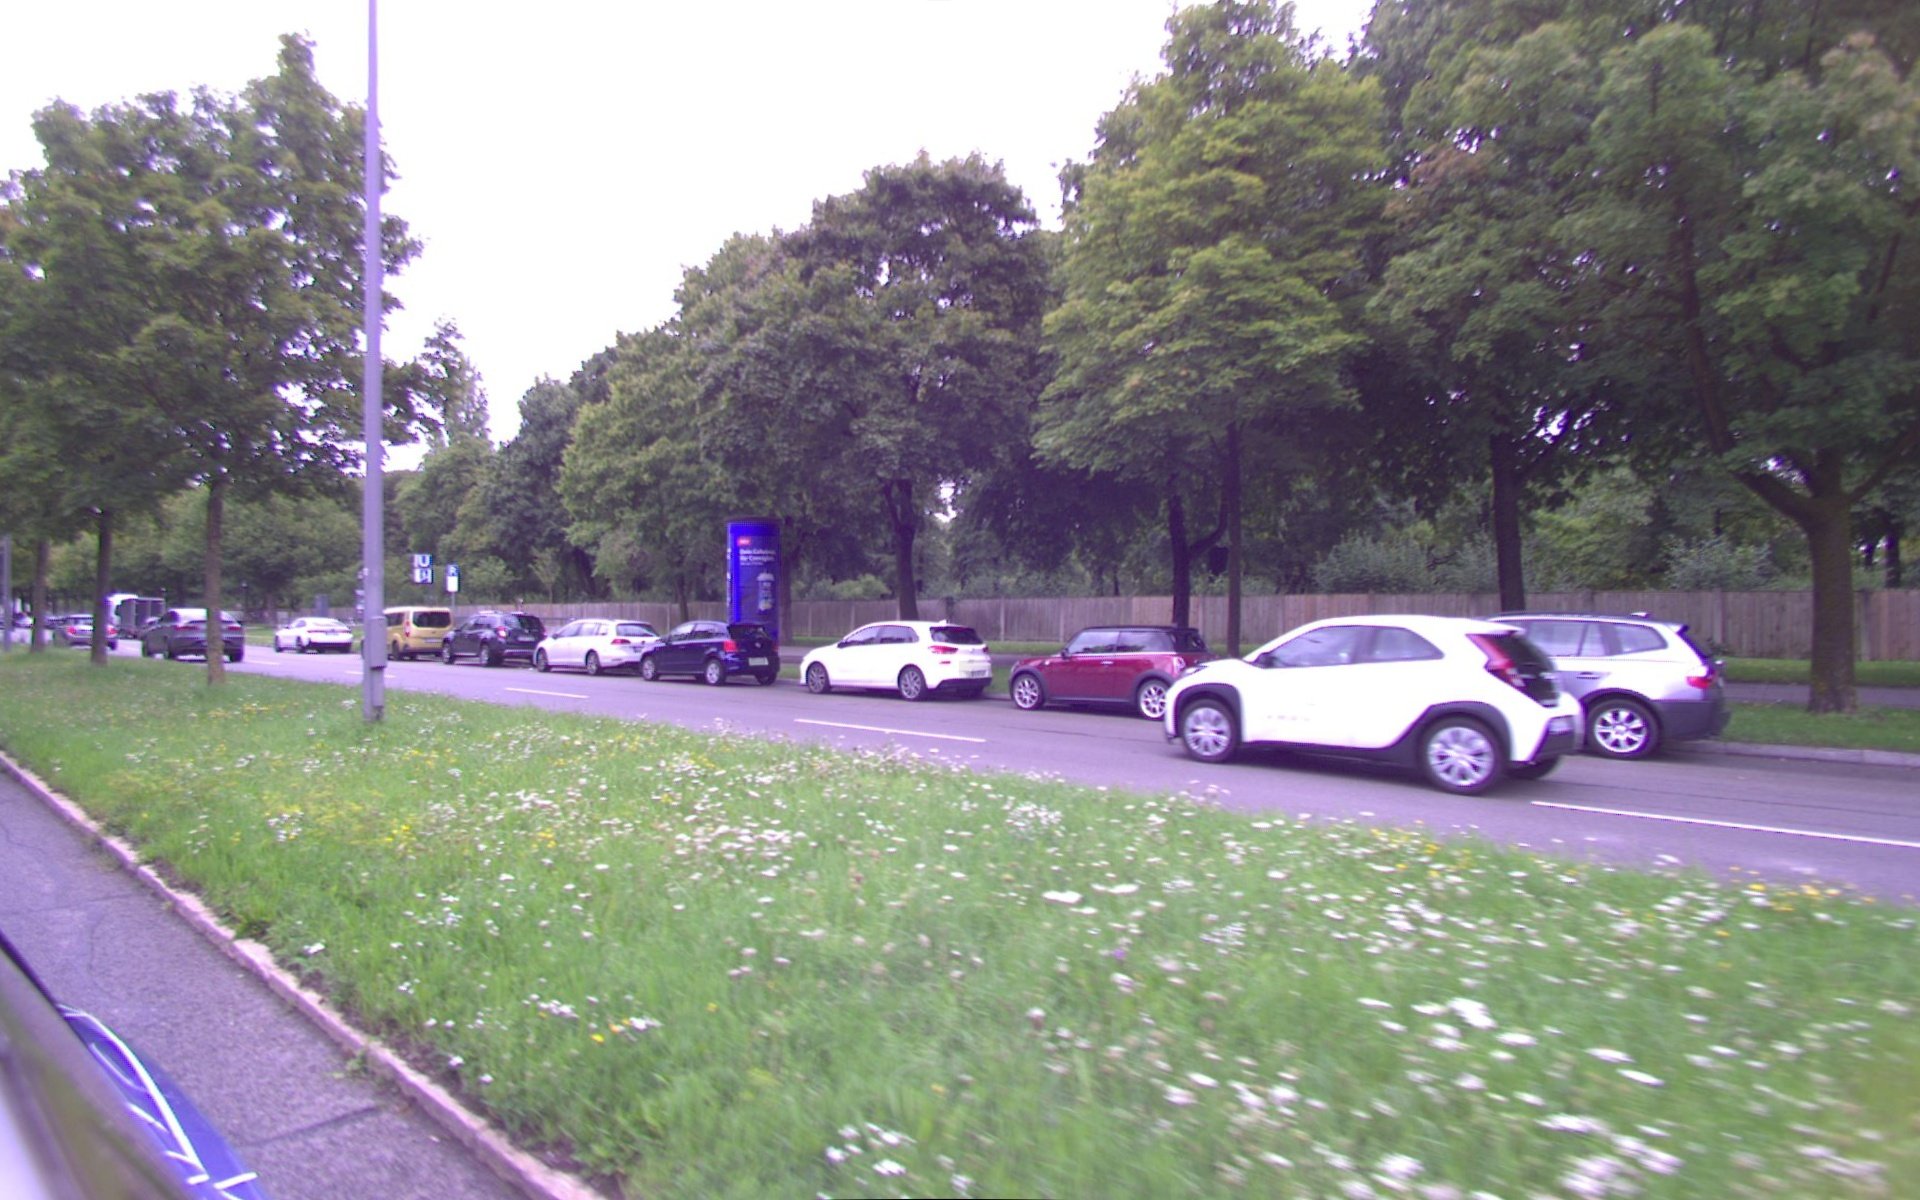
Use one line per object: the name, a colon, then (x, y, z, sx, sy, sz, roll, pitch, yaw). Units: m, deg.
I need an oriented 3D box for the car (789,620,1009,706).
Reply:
car: (-1.261, 1.165, 19.723, 4.258, 1.488, 1.802, -1, -4, 42)

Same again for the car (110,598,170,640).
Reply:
car: (-52.185, 1.207, 64.384, 4.495, 2.611, 1.974, -1, -2, 39)

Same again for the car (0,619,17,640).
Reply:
car: (-82.622, 2.510, 86.955, 4.498, 1.682, 1.842, -1, -3, 41)

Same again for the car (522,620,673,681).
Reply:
car: (-9.687, 1.295, 26.945, 4.296, 1.481, 1.803, -1, -2, 39)

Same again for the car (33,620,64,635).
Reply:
car: (-90.597, 2.760, 100.570, 4.037, 1.420, 1.695, -1, -2, 39)

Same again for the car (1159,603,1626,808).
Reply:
car: (3.972, 0.832, 9.727, 1.799, 1.565, 3.726, 0, -1, -42)

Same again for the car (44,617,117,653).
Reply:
car: (-35.868, 1.408, 41.230, 3.765, 1.393, 1.700, -1, -4, 41)

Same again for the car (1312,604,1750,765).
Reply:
car: (6.891, 0.916, 12.521, 4.454, 1.643, 1.802, -1, -2, 41)

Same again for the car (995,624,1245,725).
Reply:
car: (2.495, 1.126, 16.252, 3.686, 1.433, 1.632, -1, -4, 42)

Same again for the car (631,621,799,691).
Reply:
car: (-5.687, 1.252, 23.310, 3.784, 1.457, 1.803, -1, -3, 39)

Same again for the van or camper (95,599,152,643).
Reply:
van or camper: (-56.017, 1.407, 67.748, 4.926, 2.829, 1.974, -1, -2, 39)

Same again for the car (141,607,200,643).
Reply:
car: (-46.314, 1.457, 59.331, 3.997, 2.029, 1.973, -1, -1, 41)

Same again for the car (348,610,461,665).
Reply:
car: (-19.236, 1.281, 34.972, 4.529, 1.784, 1.839, -1, -2, 39)

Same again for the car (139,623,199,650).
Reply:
car: (-43.318, 1.971, 55.424, 4.037, 1.420, 1.695, -1, -2, 39)

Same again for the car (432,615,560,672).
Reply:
car: (-14.330, 1.307, 31.184, 4.037, 1.628, 1.982, -1, -2, 39)

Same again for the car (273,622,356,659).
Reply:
car: (-26.802, 1.664, 42.008, 4.037, 1.454, 1.695, -1, -2, 39)

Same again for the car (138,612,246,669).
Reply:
car: (-23.660, 1.216, 31.129, 4.499, 1.601, 1.802, -2, -1, 41)
